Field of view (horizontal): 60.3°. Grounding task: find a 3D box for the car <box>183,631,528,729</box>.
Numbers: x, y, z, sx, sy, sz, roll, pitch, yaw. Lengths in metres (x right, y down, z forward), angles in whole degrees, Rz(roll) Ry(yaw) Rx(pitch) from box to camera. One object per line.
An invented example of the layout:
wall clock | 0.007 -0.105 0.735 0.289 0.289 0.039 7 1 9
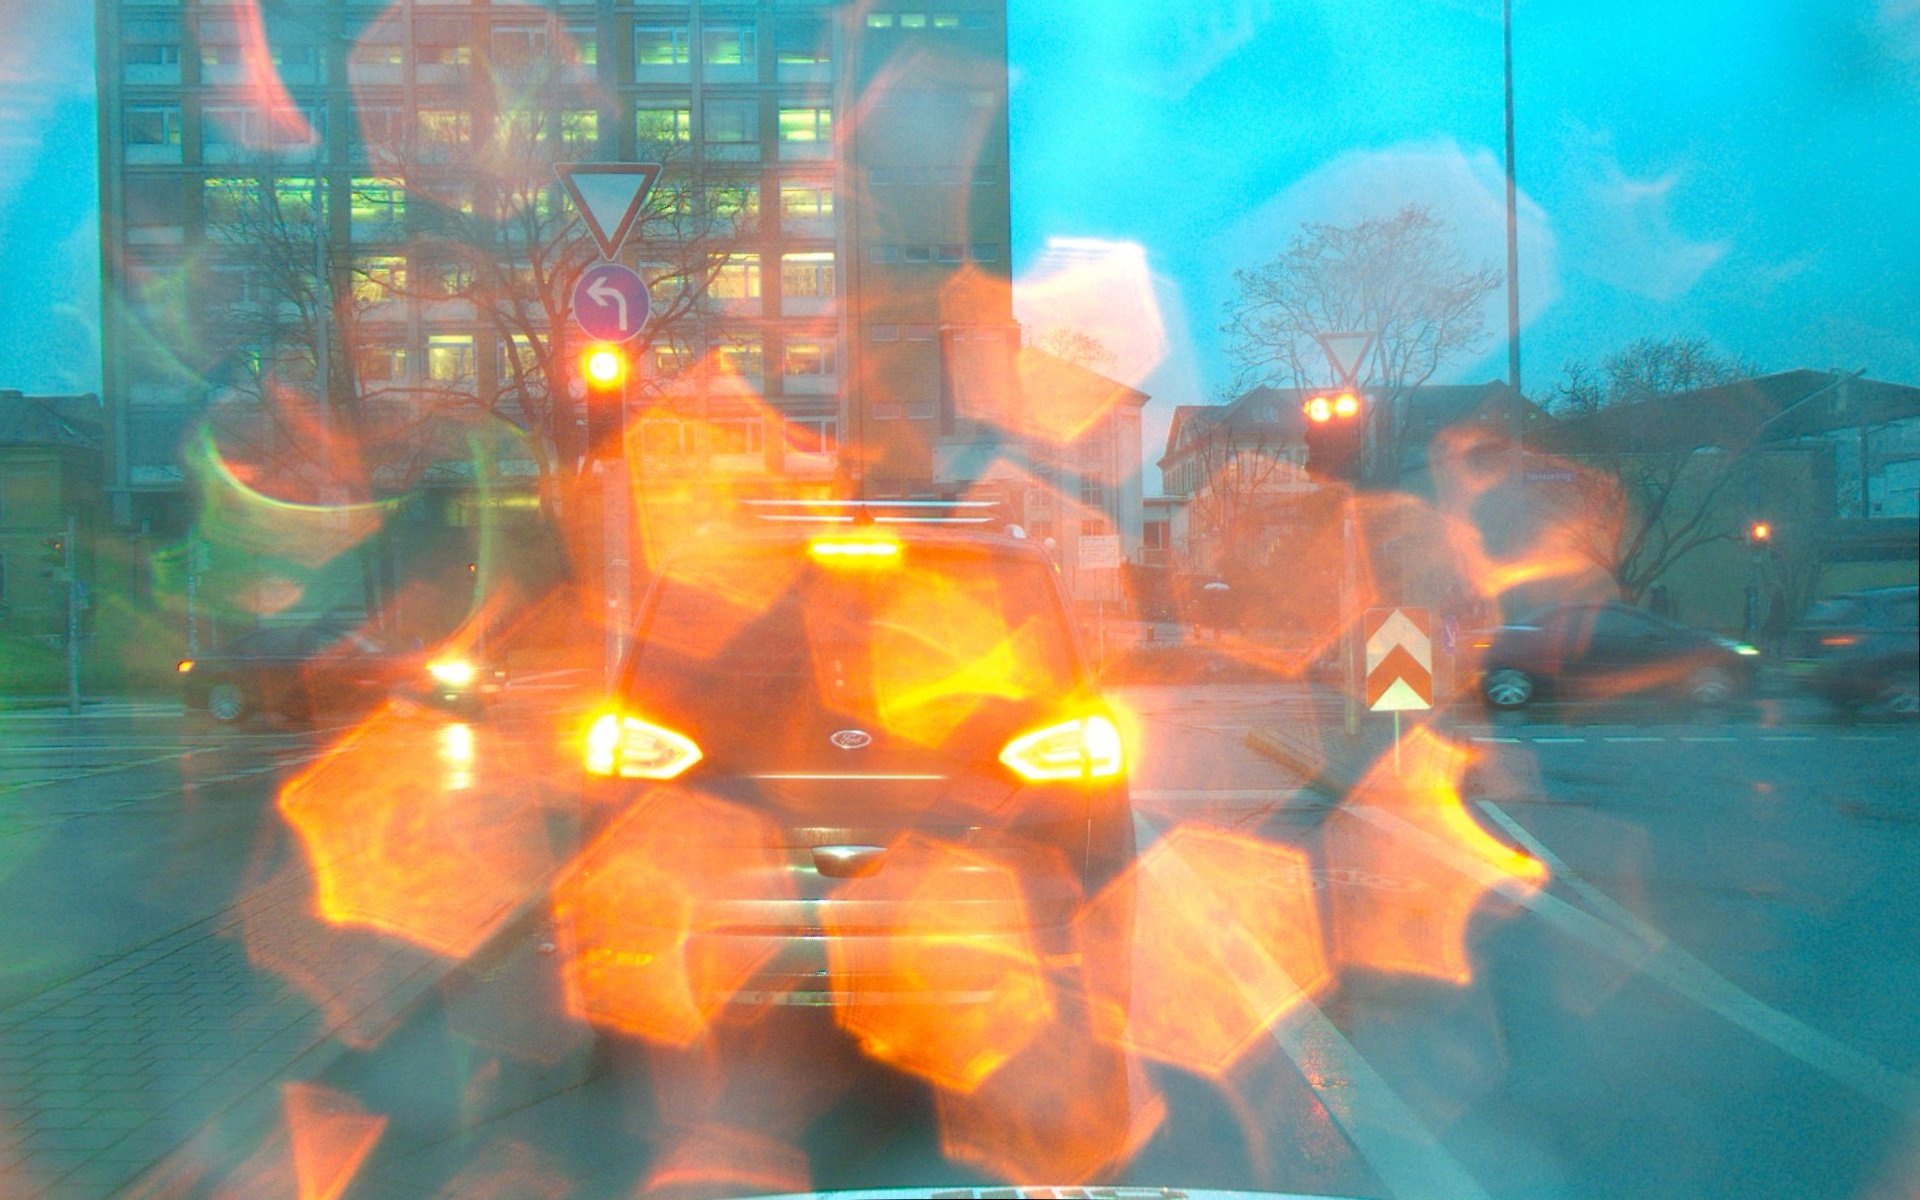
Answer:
car | -9.168 1.209 25.214 4.583 1.324 1.940 -2 -1 12

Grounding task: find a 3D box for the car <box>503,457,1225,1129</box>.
car | -0.286 0.542 6.550 1.953 1.821 3.999 1 0 -1

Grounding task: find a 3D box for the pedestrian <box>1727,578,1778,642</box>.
pedestrian | 19.936 0.251 41.618 0.874 1.559 0.886 -2 0 8

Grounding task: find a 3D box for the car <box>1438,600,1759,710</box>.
car | 8.399 0.721 22.038 3.674 1.324 1.702 -2 -1 8

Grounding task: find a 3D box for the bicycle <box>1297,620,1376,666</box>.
bicycle | 9.270 1.049 40.695 1.843 1.066 0.660 -2 0 15

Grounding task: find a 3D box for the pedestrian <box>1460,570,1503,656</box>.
pedestrian | 13.224 0.320 41.946 0.874 2.150 0.886 -2 0 11

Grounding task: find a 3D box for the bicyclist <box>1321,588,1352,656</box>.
bicyclist | 9.263 0.533 40.683 0.670 1.627 0.660 -2 0 15

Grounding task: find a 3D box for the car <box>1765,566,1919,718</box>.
car | 11.476 0.421 18.498 4.036 1.610 1.843 -2 -1 9

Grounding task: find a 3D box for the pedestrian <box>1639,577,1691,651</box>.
pedestrian | 17.750 0.341 41.649 0.975 1.831 0.920 -2 0 11

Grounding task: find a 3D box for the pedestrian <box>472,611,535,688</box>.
pedestrian | -11.764 1.275 42.619 0.981 1.874 1.139 -2 2 22

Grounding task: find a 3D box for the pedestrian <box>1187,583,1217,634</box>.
pedestrian | 8.112 0.289 55.377 0.706 1.656 0.760 -2 0 32

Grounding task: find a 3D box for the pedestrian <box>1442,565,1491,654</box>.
pedestrian | 12.591 0.225 41.108 0.875 2.150 0.886 -2 0 -1

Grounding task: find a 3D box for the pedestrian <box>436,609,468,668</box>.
pedestrian | -14.984 1.137 48.795 0.625 1.718 0.637 -2 0 16

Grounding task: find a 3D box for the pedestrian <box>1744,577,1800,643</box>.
pedestrian | 19.898 0.241 40.543 0.905 1.559 1.043 -2 0 7
